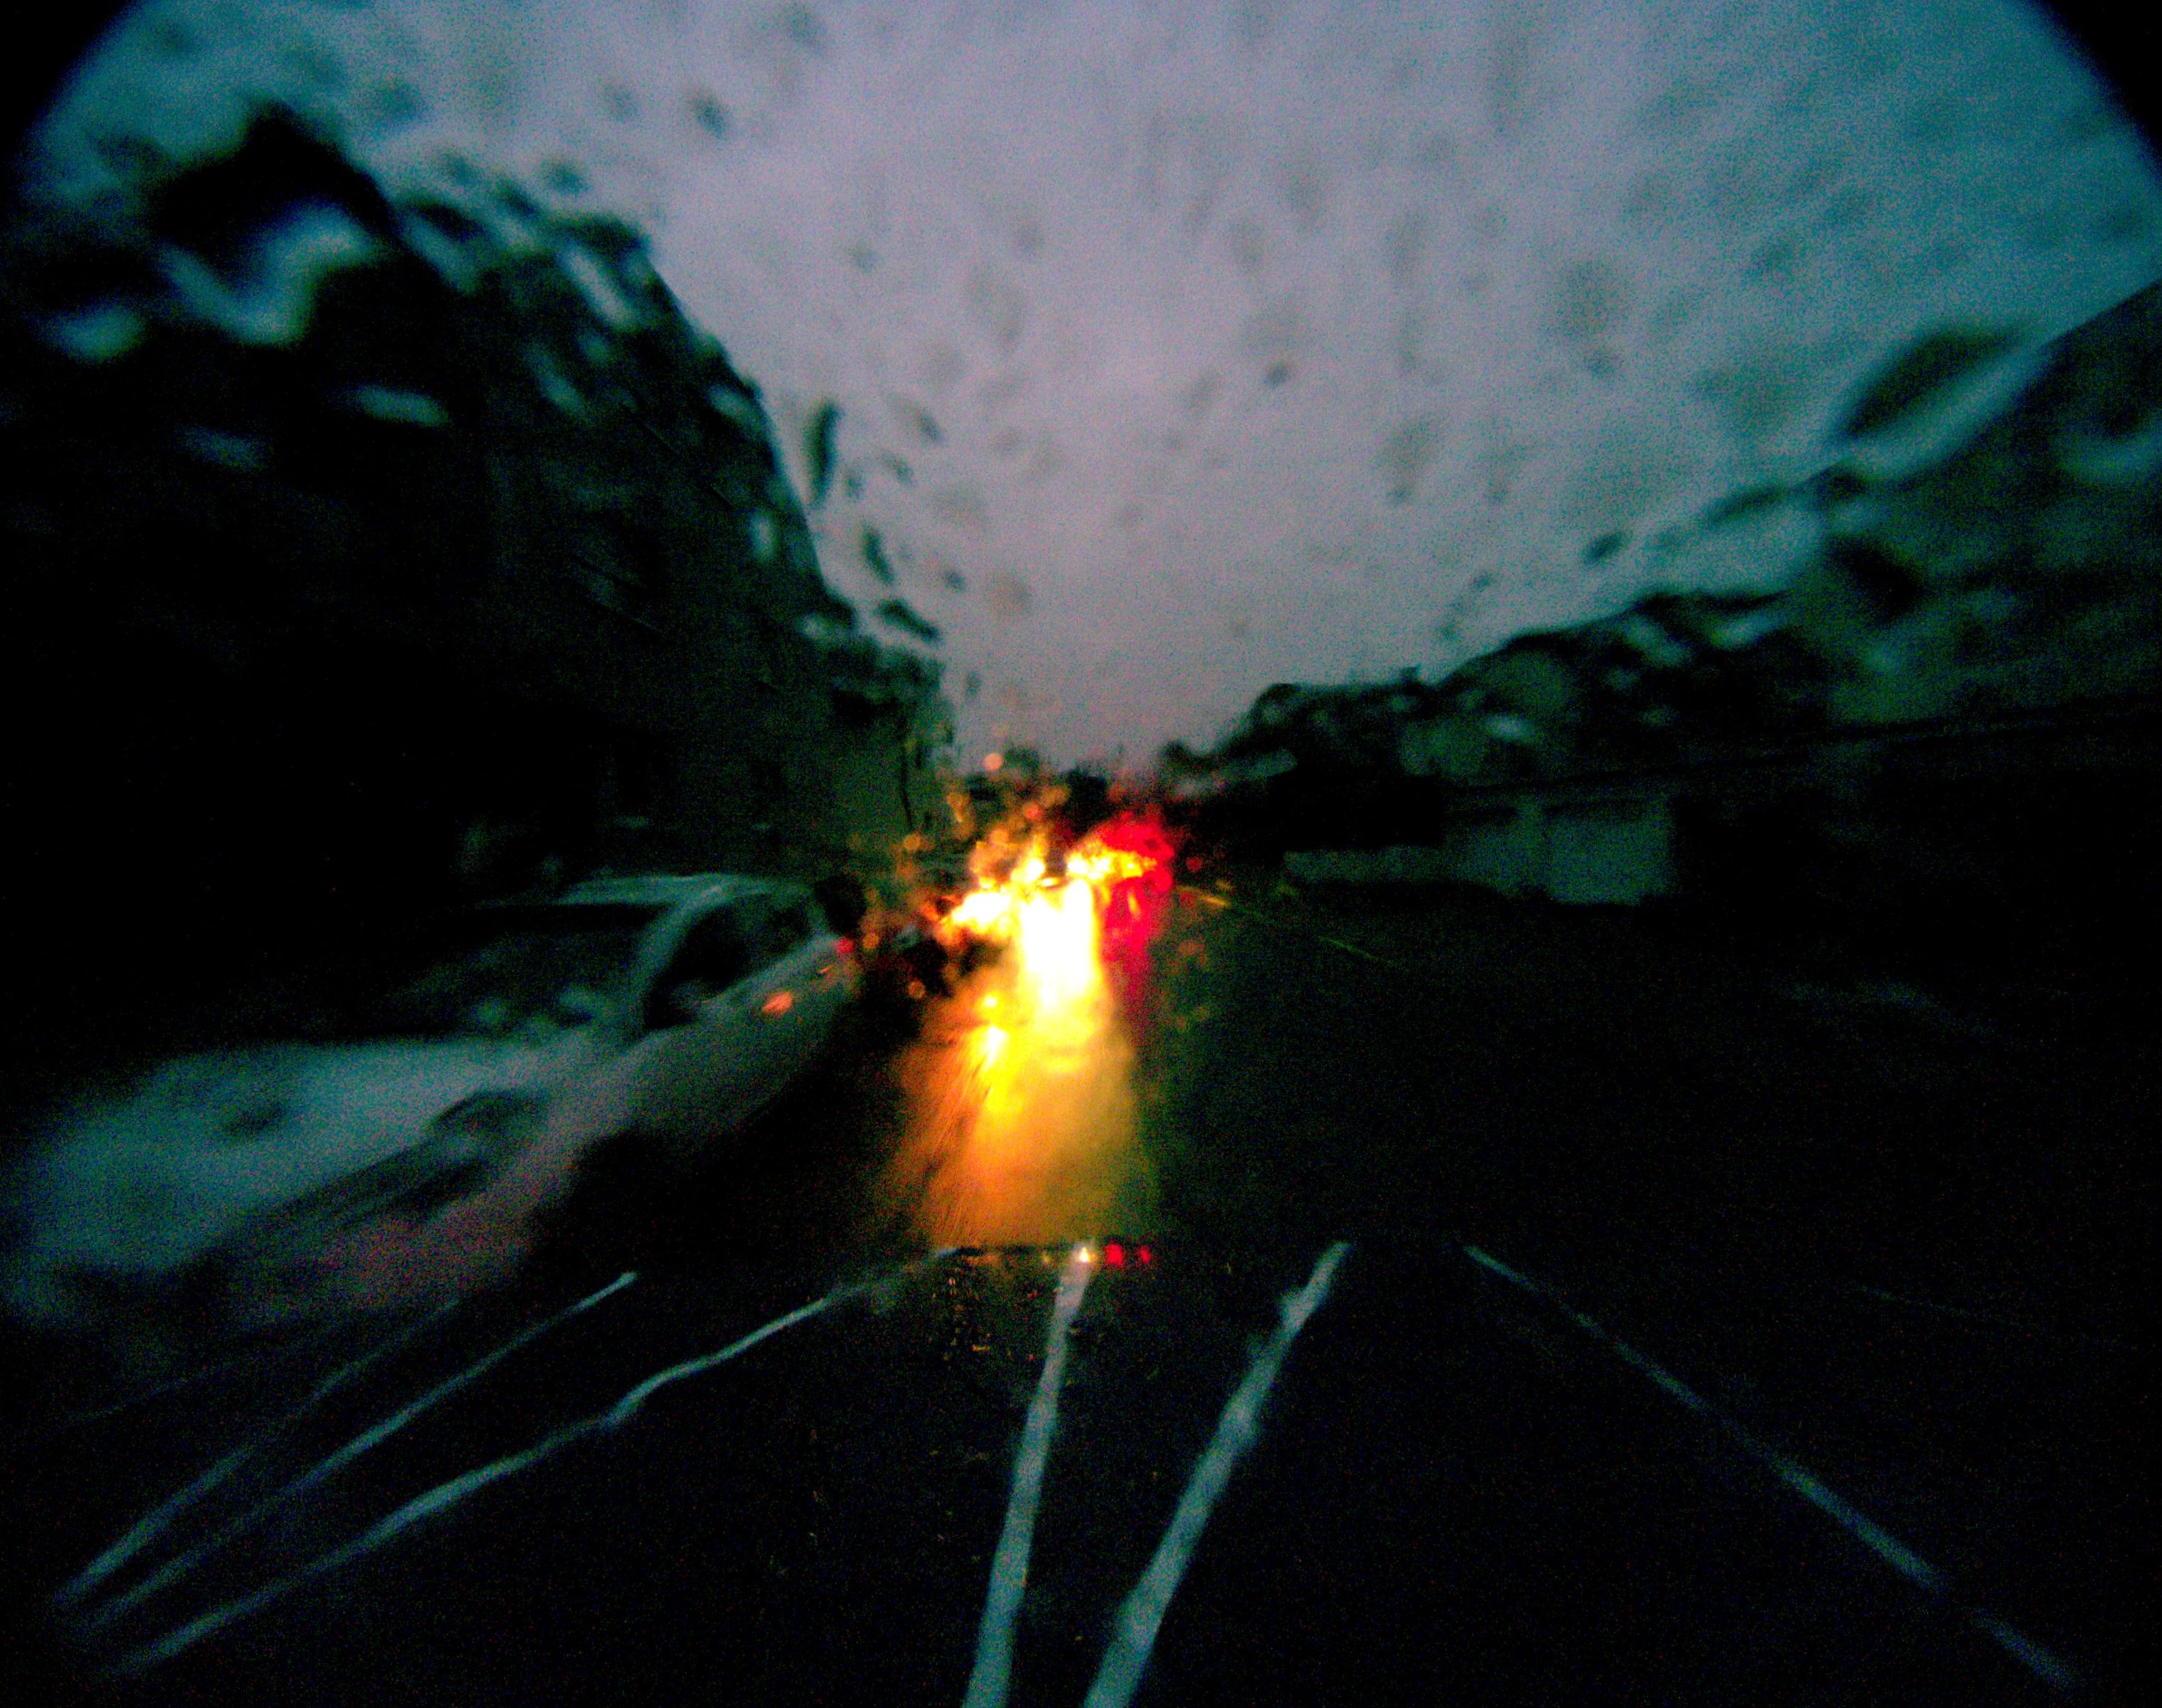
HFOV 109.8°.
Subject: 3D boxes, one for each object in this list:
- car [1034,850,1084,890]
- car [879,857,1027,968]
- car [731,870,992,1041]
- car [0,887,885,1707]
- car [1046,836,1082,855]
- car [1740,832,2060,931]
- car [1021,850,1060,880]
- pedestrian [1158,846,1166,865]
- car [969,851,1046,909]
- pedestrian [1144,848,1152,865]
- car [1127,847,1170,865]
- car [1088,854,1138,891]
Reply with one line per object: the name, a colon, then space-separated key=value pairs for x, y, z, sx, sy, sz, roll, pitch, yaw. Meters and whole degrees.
car: x=-0.944 y=0.645 z=33.019 sx=1.991 sy=1.549 sz=4.235 roll=-2 pitch=0 yaw=-2
car: x=-2.093 y=0.901 z=13.678 sx=1.814 sy=1.530 sz=4.303 roll=-1 pitch=1 yaw=1
car: x=-2.247 y=0.972 z=9.060 sx=1.739 sy=1.398 sz=4.304 roll=-1 pitch=0 yaw=1
car: x=-2.385 y=1.012 z=3.600 sx=1.647 sy=1.469 sz=4.371 roll=-1 pitch=0 yaw=1
car: x=-1.789 y=-0.854 z=77.068 sx=1.855 sy=1.873 sz=4.876 roll=-2 pitch=1 yaw=-25
car: x=13.509 y=0.397 z=12.621 sx=4.001 sy=1.395 sz=1.759 roll=-2 pitch=1 yaw=-11
car: x=-2.305 y=0.582 z=42.158 sx=1.992 sy=1.549 sz=4.233 roll=-2 pitch=0 yaw=-5
pedestrian: x=7.081 y=0.129 z=66.518 sx=0.591 sy=1.562 sz=0.581 roll=-3 pitch=1 yaw=0
car: x=-2.246 y=0.750 z=24.249 sx=1.991 sy=1.638 sz=4.235 roll=-2 pitch=0 yaw=0
pedestrian: x=5.974 y=0.218 z=67.418 sx=0.591 sy=1.463 sz=0.581 roll=-3 pitch=1 yaw=0
car: x=6.651 y=0.148 z=74.530 sx=3.993 sy=1.652 sz=1.757 roll=-1 pitch=1 yaw=13
car: x=1.403 y=0.787 z=34.741 sx=1.991 sy=1.489 sz=4.235 roll=-2 pitch=0 yaw=-1
